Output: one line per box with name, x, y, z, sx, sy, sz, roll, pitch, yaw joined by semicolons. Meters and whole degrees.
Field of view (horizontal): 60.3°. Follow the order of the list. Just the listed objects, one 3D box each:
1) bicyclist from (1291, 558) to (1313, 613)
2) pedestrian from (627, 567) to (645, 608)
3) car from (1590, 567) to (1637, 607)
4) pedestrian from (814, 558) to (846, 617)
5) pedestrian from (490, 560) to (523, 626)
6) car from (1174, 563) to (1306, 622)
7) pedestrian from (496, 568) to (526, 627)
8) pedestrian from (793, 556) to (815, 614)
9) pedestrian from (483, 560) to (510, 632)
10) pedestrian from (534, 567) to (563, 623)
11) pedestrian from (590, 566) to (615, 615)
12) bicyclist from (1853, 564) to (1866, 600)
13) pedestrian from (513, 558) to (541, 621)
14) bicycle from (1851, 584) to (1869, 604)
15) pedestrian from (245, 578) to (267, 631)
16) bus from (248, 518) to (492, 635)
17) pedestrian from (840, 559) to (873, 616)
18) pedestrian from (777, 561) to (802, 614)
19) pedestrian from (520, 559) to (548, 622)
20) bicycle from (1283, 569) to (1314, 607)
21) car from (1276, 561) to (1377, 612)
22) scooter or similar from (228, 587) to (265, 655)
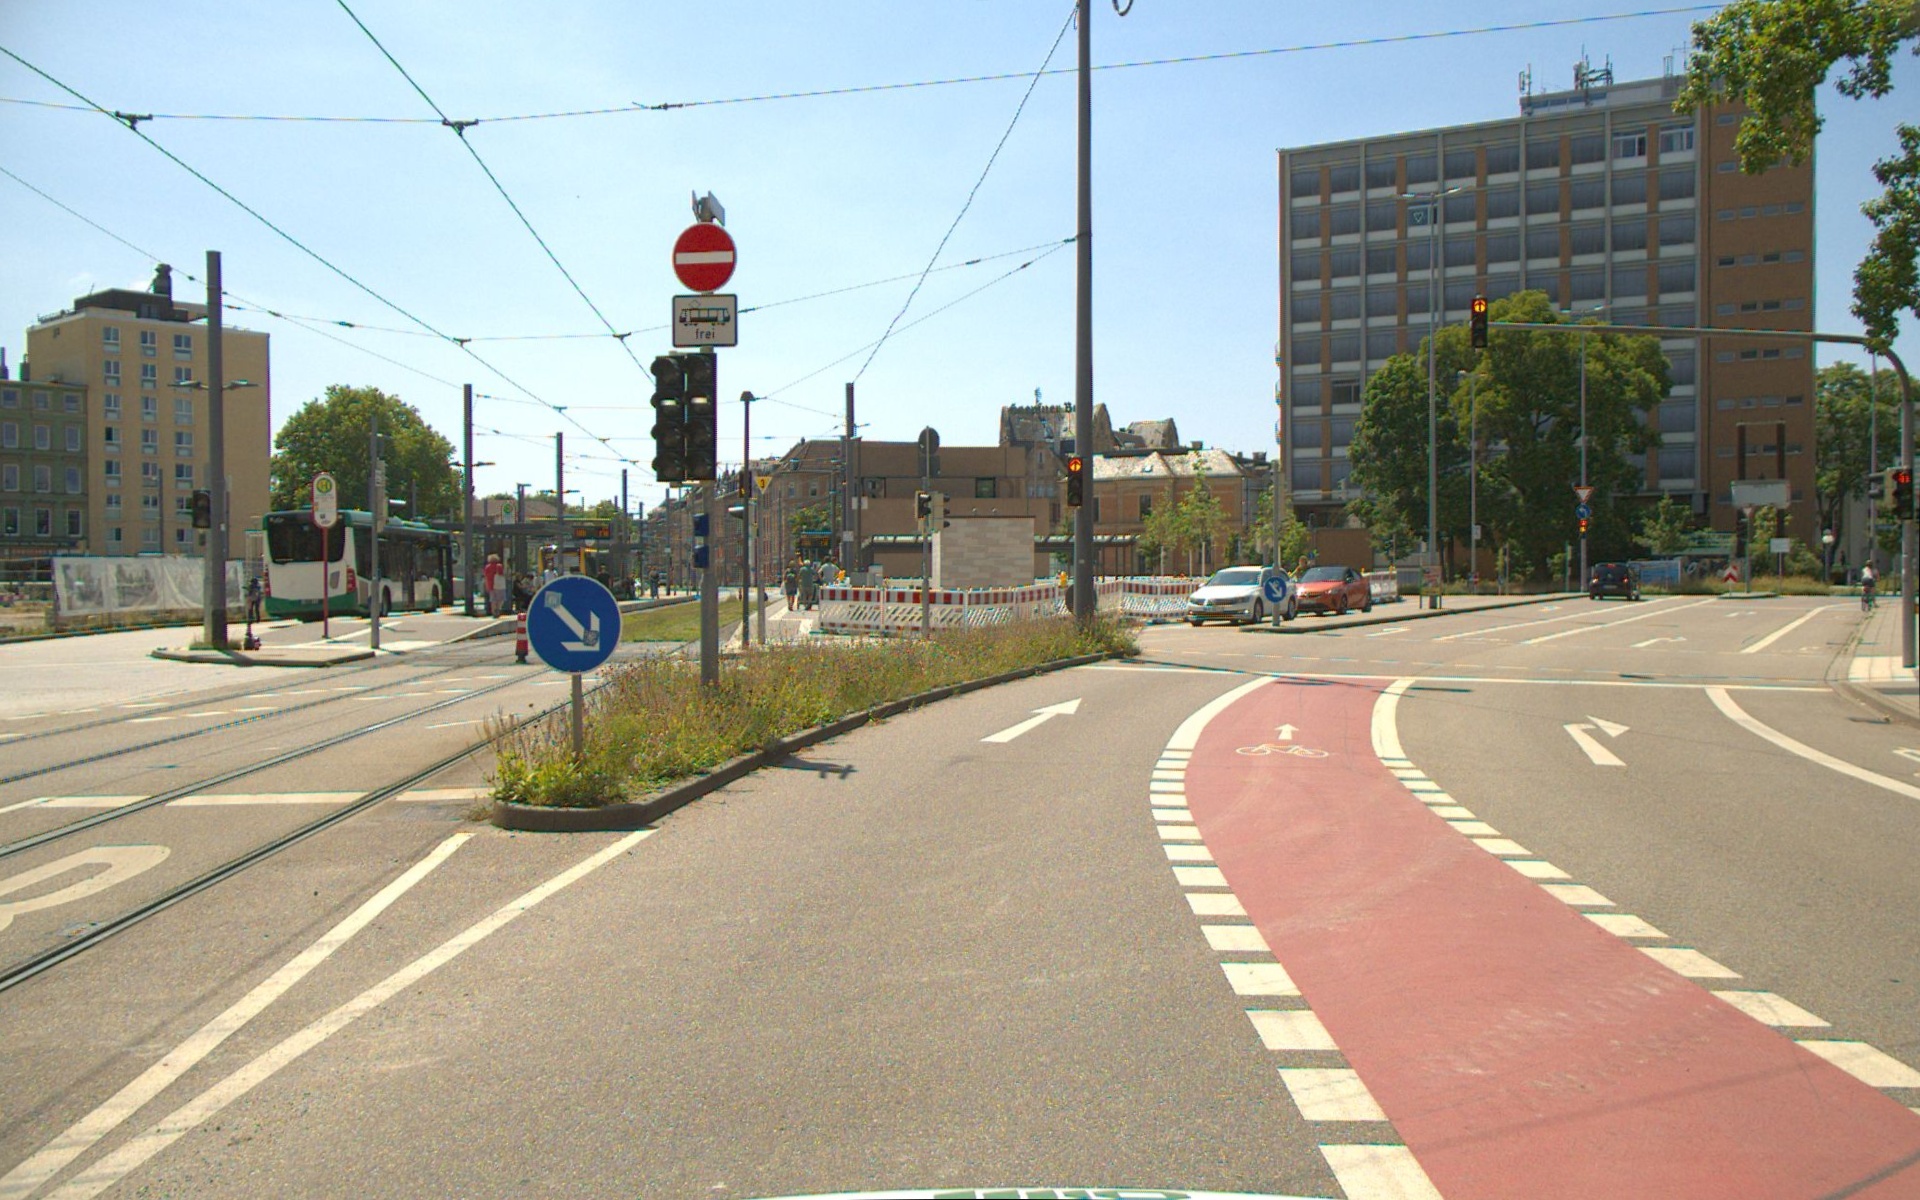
bicyclist;11.031;-0.472;53.321;0.557;1.749;0.505;1;1;36
pedestrian;-17.008;-0.642;86.955;0.813;2.133;0.901;-1;1;-5
car;26.492;-0.548;67.091;1.654;1.553;3.691;1;1;20
pedestrian;-4.203;-0.390;53.576;0.718;1.897;0.762;0;-1;44
pedestrian;-14.233;-0.234;51.932;0.926;2.025;1.025;-1;1;-14
car;7.397;-0.201;43.349;1.956;1.463;4.697;0;0;29
pedestrian;-14.453;-0.083;53.258;0.896;1.884;0.655;-1;1;-15
pedestrian;-5.306;-0.502;56.223;0.706;1.957;1.072;0;0;-10
pedestrian;-12.779;-0.117;45.630;0.661;1.943;0.638;-1;1;-14
pedestrian;-15.852;-0.197;63.700;0.880;2.133;0.831;-1;1;0
pedestrian;-15.488;-0.416;71.642;0.880;2.133;0.831;-1;1;0
bicyclist;31.090;-0.630;57.155;0.344;1.249;0.564;0;1;23
pedestrian;-14.811;-0.366;56.509;0.884;2.133;0.828;-1;1;-16
bicycle;31.090;-0.211;57.130;0.369;0.657;1.644;0;1;23
pedestrian;-23.223;0.153;54.555;0.556;1.735;0.396;-1;1;-12
bus;-18.883;-0.786;54.780;2.951;3.213;17.484;-1;1;-4
pedestrian;-3.429;-0.414;54.793;0.962;1.864;0.630;-1;1;-19
pedestrian;-5.664;-0.419;54.973;0.714;1.736;0.740;0;0;-16
pedestrian;-14.661;-0.339;56.887;0.884;2.133;0.828;-1;1;-16
bicycle;10.911;-0.383;53.309;0.391;1.194;1.766;0;1;32
car;10.959;-0.391;49.311;1.700;1.449;4.114;0;0;32
scooter or similar;-13.246;0.375;30.716;0.313;1.227;1.246;-1;1;-9
